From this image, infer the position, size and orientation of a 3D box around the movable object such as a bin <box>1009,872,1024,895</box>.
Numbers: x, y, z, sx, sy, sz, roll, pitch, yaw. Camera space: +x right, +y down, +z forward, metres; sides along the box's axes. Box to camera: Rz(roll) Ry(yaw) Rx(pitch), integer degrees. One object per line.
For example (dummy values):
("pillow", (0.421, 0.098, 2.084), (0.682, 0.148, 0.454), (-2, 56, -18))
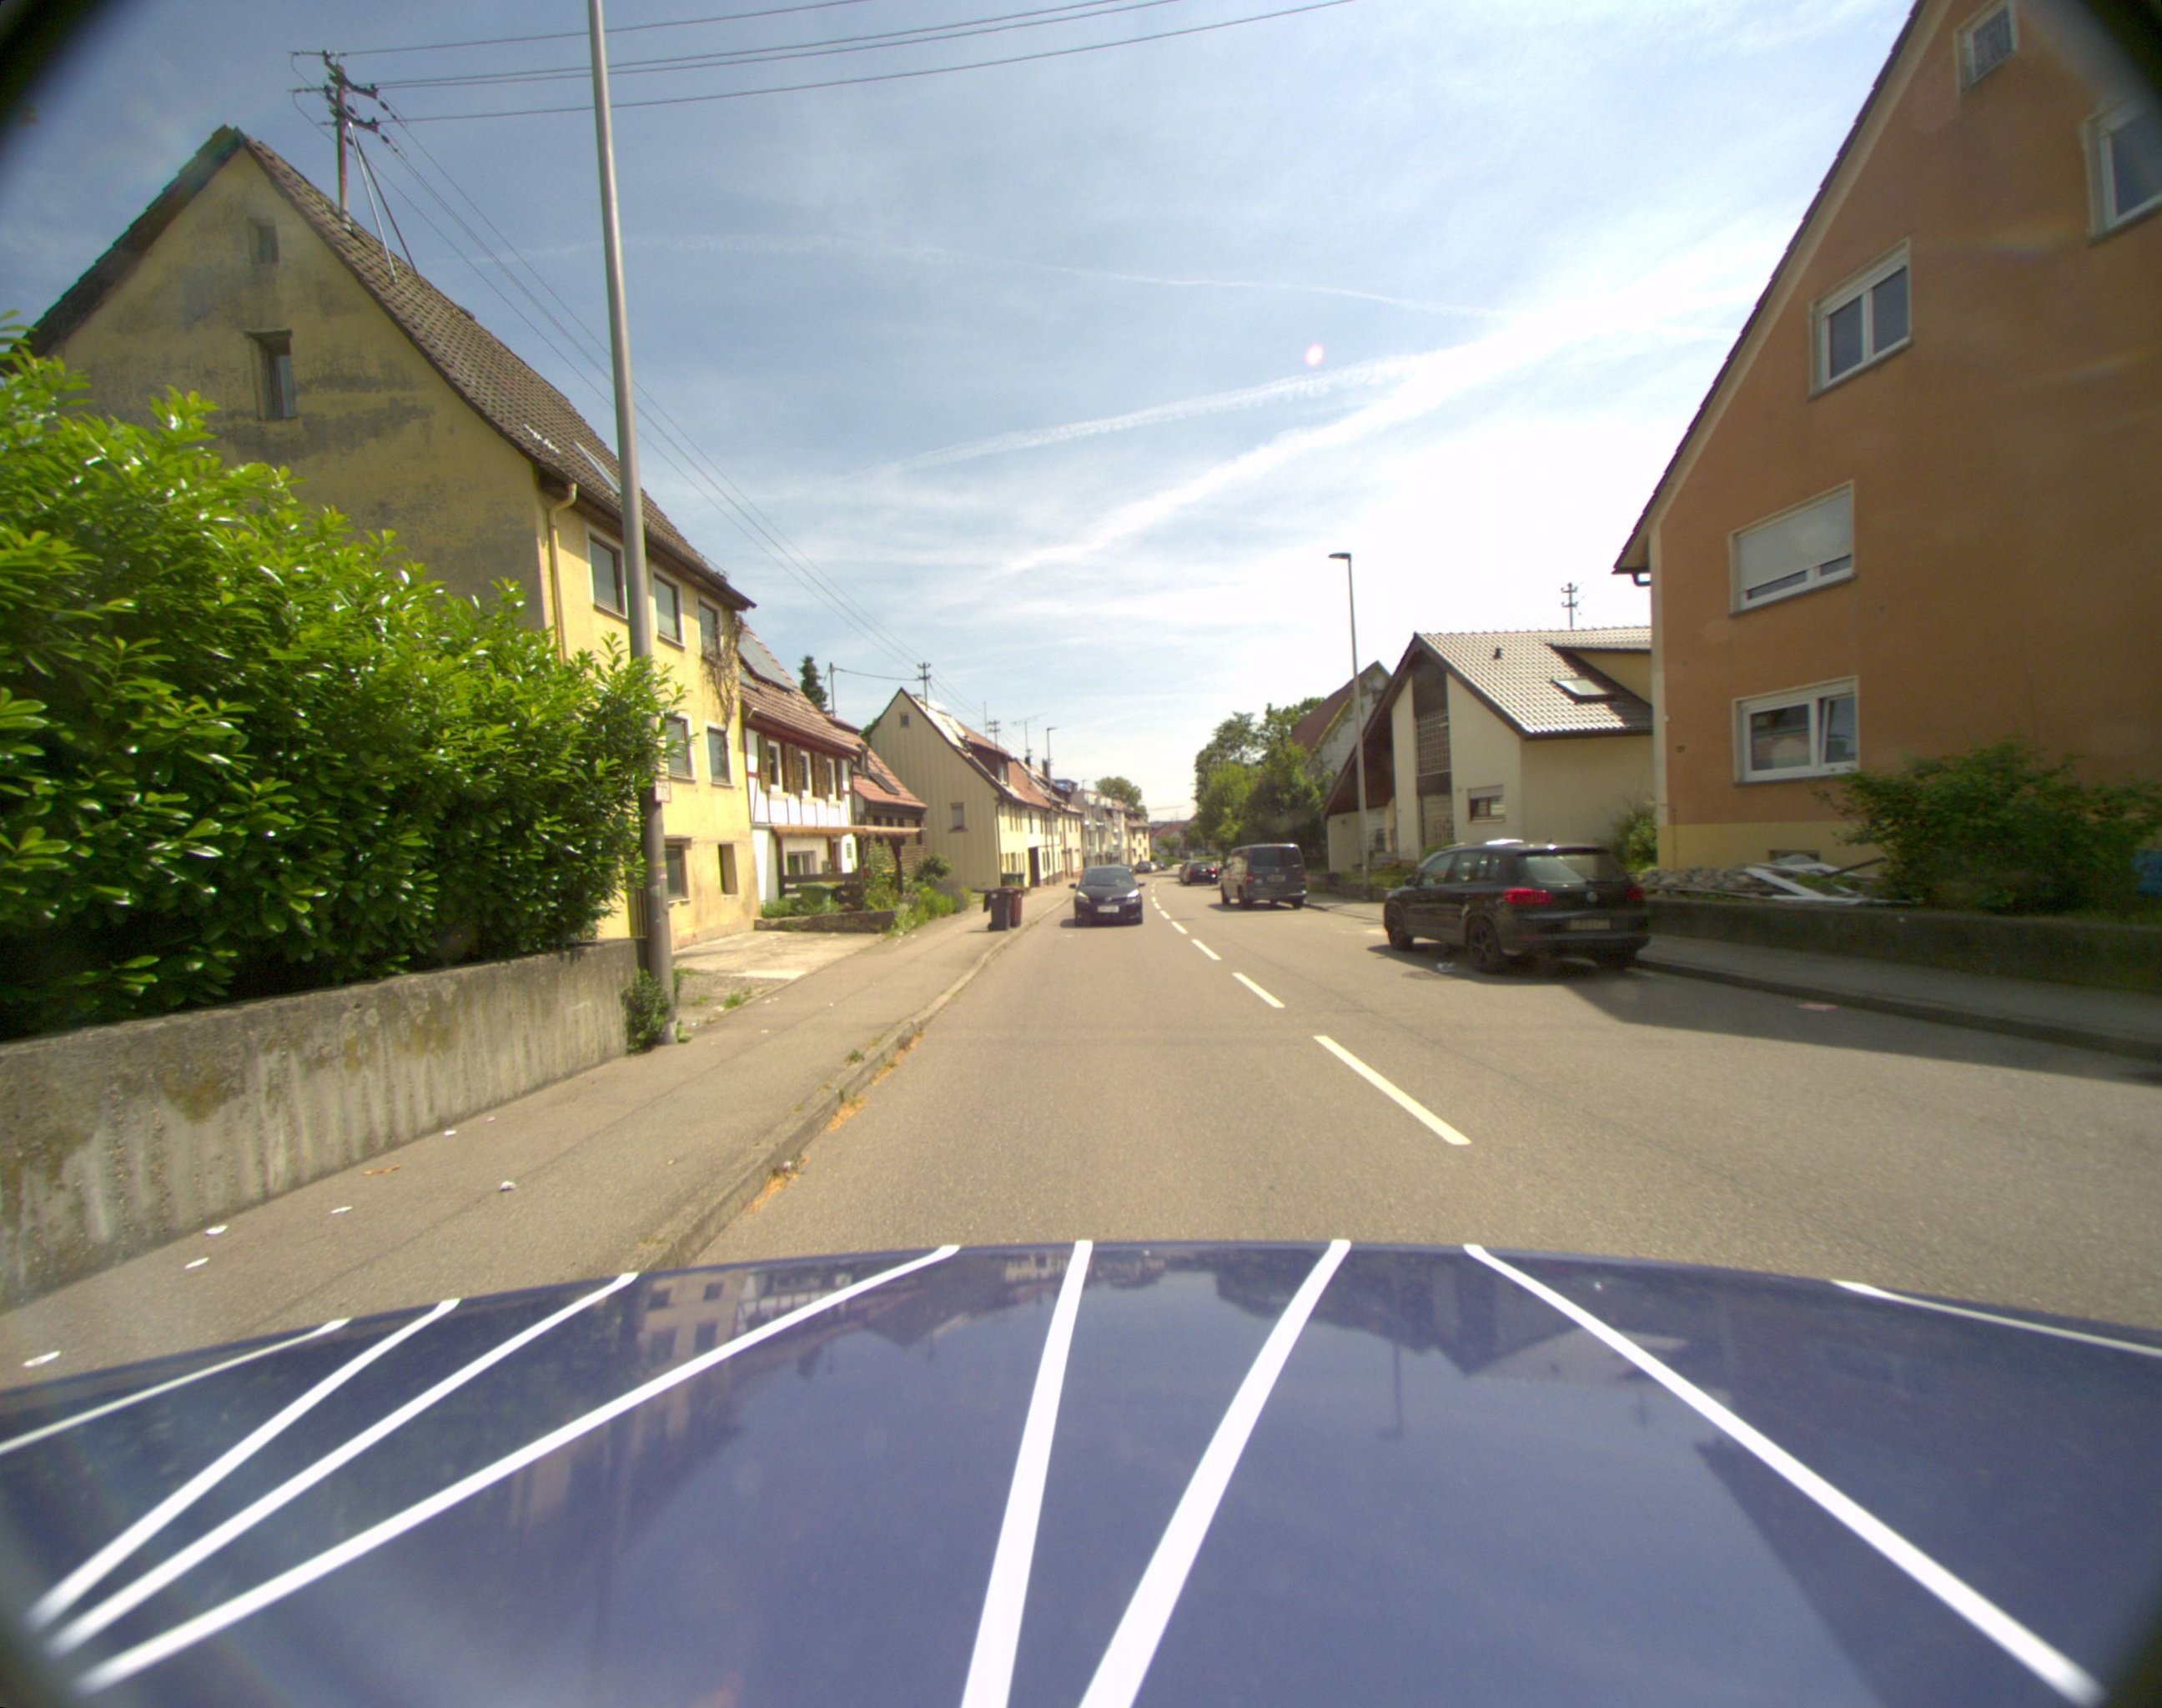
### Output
("movable object such as a bin", (-2.916, 1.315, 34.346), (0.548, 1.027, 0.552), (0, 0, 4))

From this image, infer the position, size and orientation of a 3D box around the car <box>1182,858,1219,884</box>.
("car", (7.208, 1.014, 46.269), (1.823, 1.464, 4.778), (-2, -1, 4))

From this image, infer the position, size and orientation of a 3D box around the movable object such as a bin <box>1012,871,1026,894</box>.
("movable object such as a bin", (-2.856, 1.318, 34.934), (0.548, 1.027, 0.552), (0, 0, 4))

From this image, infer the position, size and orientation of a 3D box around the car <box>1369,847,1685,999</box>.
("car", (5.769, 0.779, 10.570), (1.773, 1.626, 4.287), (-2, 0, -1))

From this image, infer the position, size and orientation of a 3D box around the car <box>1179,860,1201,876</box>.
("car", (10.244, 1.339, 71.364), (1.807, 1.415, 4.932), (-1, -1, 10))

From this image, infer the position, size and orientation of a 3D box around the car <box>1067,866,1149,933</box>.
("car", (0.803, 1.083, 19.653), (1.724, 1.448, 4.432), (-2, -1, 7))

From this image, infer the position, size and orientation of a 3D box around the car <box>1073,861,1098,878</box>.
("car", (0.426, 1.293, 65.341), (1.669, 1.344, 4.189), (-3, 0, 6))

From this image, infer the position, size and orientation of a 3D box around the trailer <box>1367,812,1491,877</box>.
("trailer", (13.983, -0.372, 30.688), (3.840, 2.002, 2.000), (-9, 0, 0))

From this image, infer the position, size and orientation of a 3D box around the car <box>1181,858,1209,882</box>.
("car", (7.877, 1.088, 52.558), (1.758, 1.512, 4.304), (-2, -1, 9))

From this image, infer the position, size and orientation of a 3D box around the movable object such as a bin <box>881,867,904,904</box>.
("movable object such as a bin", (-6.146, 1.031, 24.765), (0.536, 1.151, 0.549), (4, 1, -1))

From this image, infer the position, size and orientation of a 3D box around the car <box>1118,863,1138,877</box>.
("car", (5.346, 1.809, 85.978), (1.800, 1.416, 4.293), (-1, 0, 10))

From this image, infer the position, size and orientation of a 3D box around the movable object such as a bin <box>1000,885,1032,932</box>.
("movable object such as a bin", (-1.481, 1.228, 17.305), (0.494, 1.027, 0.549), (2, 1, 25))

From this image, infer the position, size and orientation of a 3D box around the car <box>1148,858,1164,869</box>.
("car", (11.275, 1.406, 114.179), (1.791, 1.412, 4.362), (-2, 0, 14))

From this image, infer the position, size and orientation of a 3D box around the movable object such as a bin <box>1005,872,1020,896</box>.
("movable object such as a bin", (-2.997, 1.299, 33.385), (0.548, 1.027, 0.552), (0, 0, 4))

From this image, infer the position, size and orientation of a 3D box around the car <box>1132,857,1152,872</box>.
("car", (7.852, 1.341, 97.959), (1.957, 1.706, 4.721), (-2, 0, 11))

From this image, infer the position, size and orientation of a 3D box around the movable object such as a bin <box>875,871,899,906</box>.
("movable object such as a bin", (-6.158, 1.078, 24.122), (0.536, 1.051, 0.549), (4, 1, -1))

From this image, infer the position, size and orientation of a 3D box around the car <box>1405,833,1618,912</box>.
("car", (10.671, 0.446, 19.026), (4.240, 1.397, 1.821), (-6, 0, -4))

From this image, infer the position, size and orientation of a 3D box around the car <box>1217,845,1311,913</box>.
("car", (5.743, 0.730, 24.493), (1.895, 1.926, 4.986), (-1, 0, 1))
